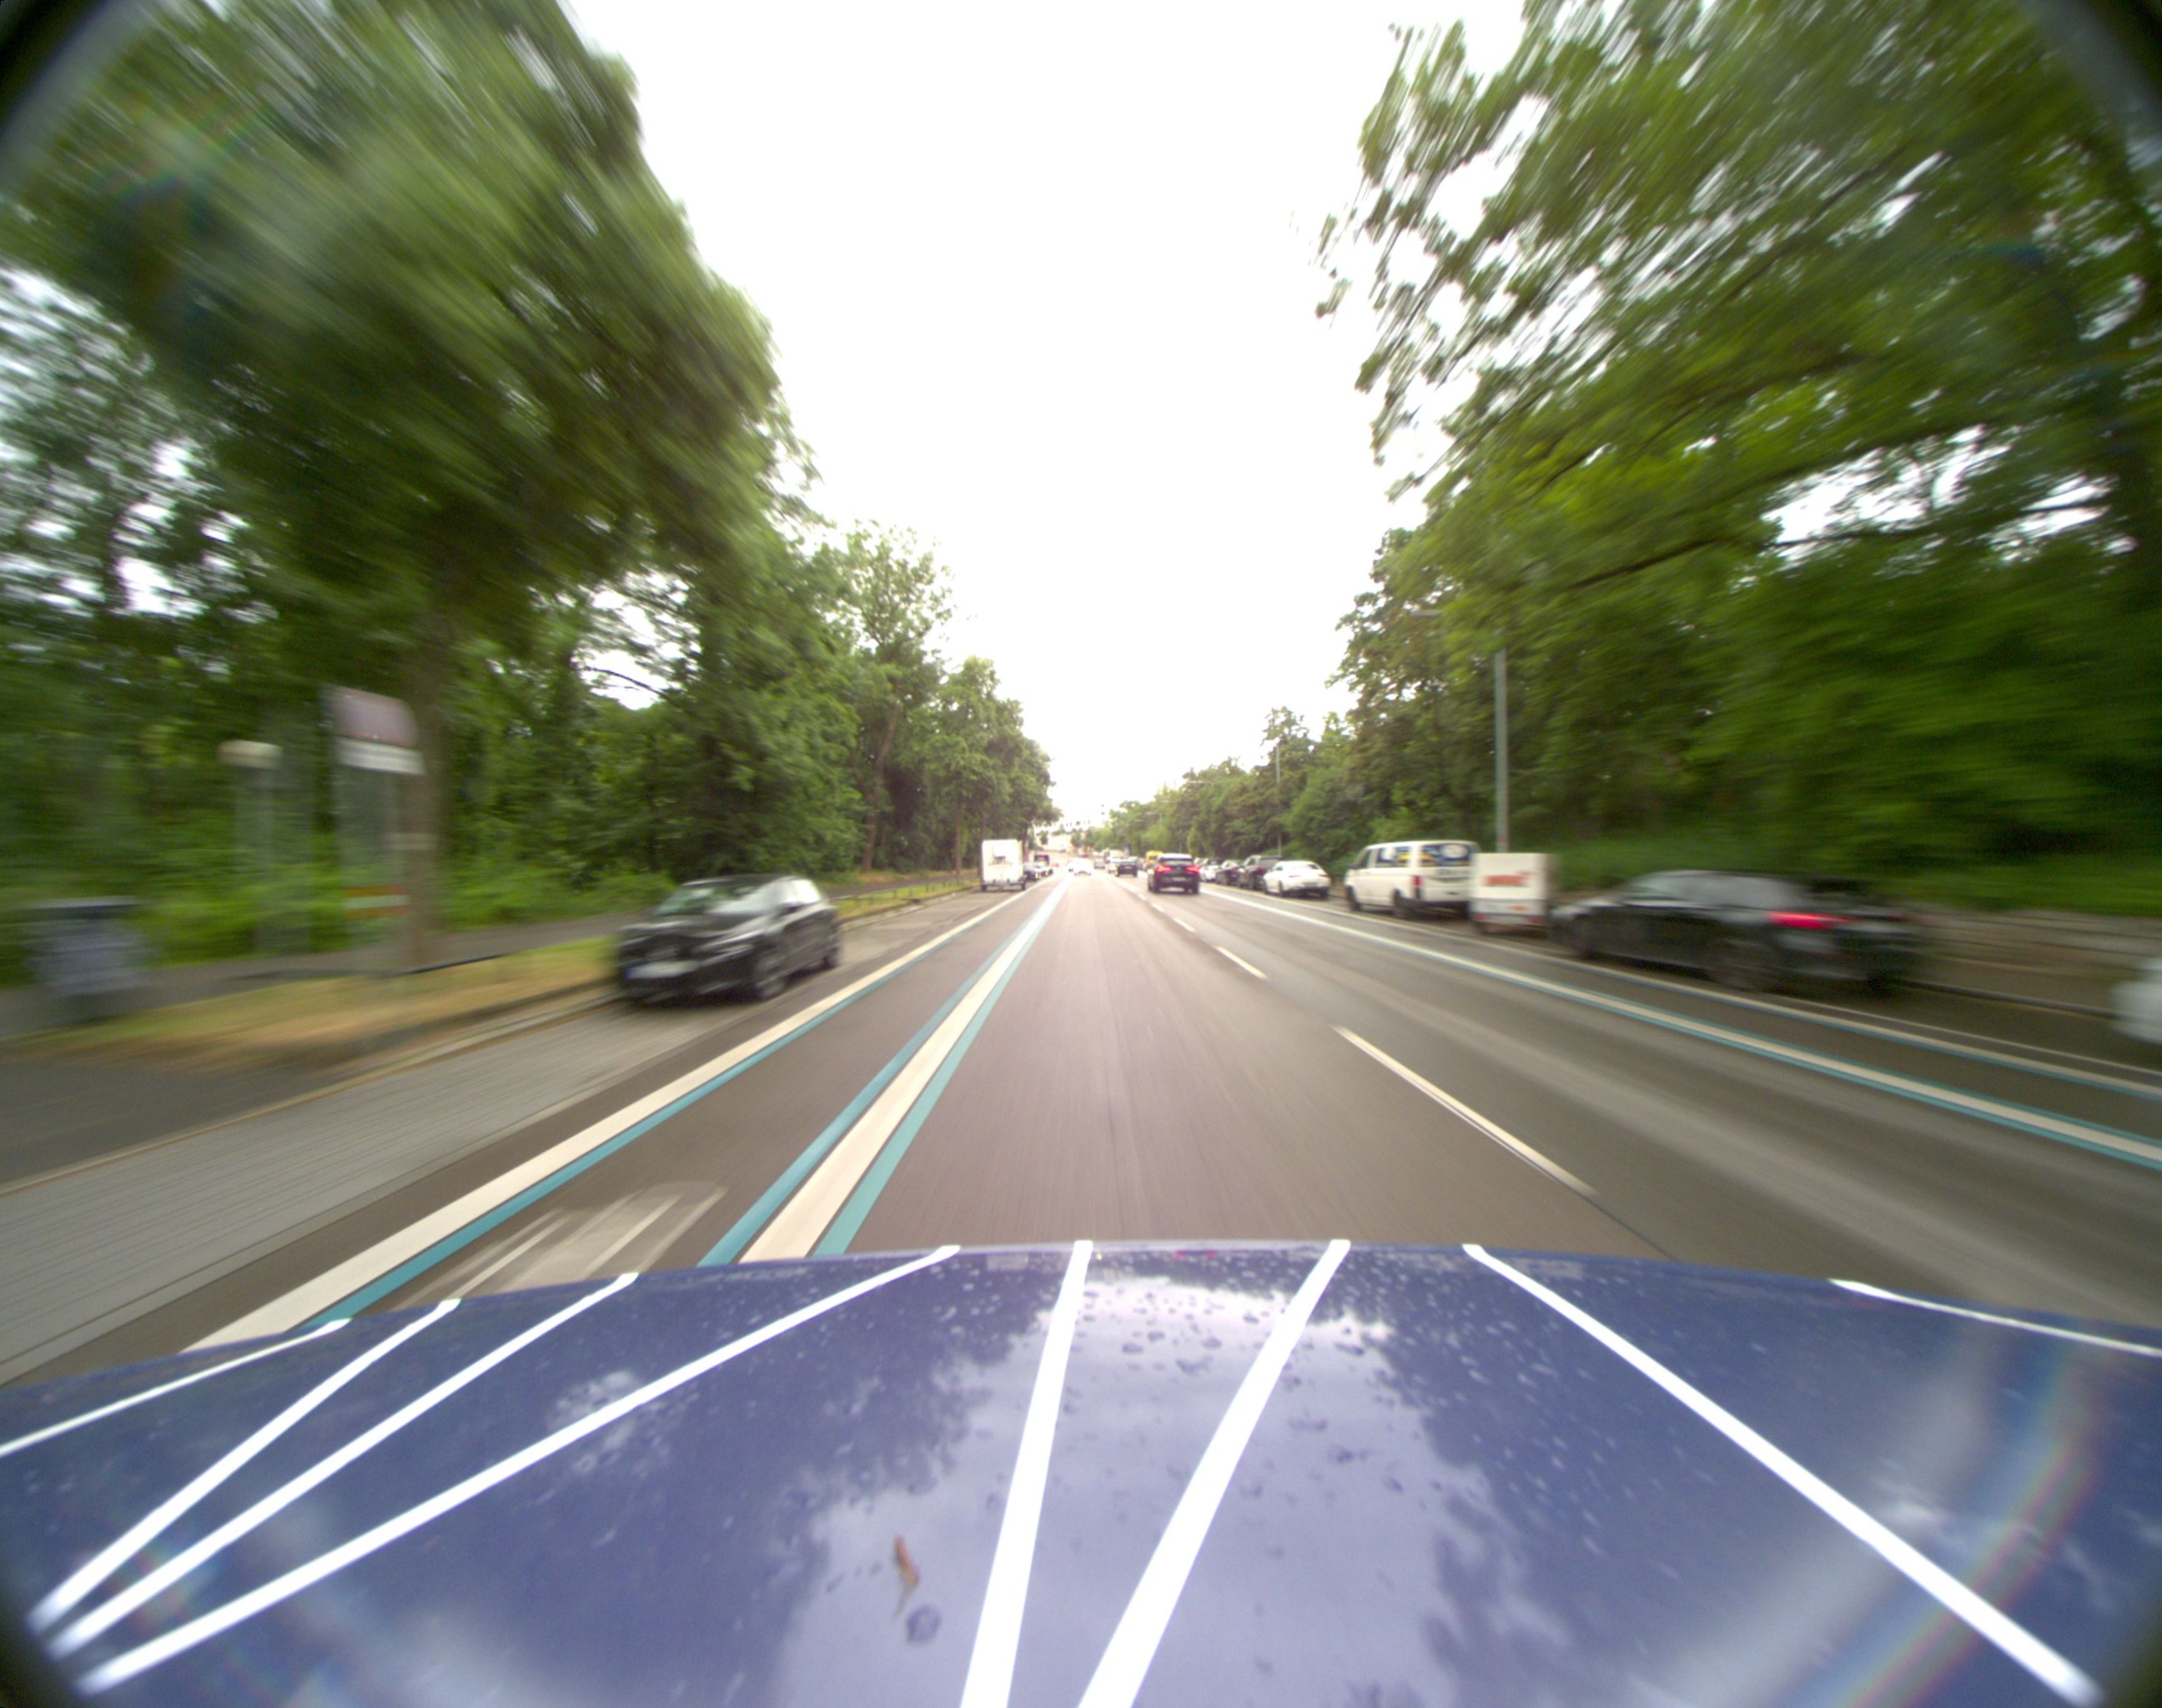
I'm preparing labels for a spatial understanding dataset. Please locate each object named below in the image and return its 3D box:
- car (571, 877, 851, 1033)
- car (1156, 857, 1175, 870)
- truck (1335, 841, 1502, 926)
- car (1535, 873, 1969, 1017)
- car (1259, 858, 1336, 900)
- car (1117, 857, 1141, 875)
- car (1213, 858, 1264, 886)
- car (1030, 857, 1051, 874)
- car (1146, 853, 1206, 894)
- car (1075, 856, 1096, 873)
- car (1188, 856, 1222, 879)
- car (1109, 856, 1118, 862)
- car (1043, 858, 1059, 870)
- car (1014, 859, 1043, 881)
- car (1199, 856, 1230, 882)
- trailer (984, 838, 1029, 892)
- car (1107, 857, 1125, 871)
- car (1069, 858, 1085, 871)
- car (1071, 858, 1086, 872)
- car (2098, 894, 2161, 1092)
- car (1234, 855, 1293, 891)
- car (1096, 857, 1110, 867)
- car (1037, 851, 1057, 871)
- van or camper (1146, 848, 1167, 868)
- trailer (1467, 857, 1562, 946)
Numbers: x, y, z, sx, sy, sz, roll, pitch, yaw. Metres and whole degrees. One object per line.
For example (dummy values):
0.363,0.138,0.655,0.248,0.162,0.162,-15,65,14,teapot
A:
-4.380,1.091,9.770,1.700,1.468,3.997,-1,0,-1,car
9.393,1.062,84.760,1.825,1.470,3.558,0,0,0,car
8.925,0.717,20.707,2.099,2.002,5.158,-1,0,-2,truck
8.455,1.022,10.278,1.826,1.390,4.444,-1,0,-3,car
8.711,0.958,30.951,1.811,1.489,4.752,0,0,0,car
4.119,1.044,65.852,1.769,1.449,4.496,1,0,1,car
8.966,0.990,43.650,1.901,1.466,4.553,-1,0,-1,car
-3.959,1.121,74.707,1.804,1.589,4.000,-1,0,0,car
4.033,0.803,32.965,2.043,1.639,4.477,0,0,1,car
0.469,1.066,76.922,1.998,1.588,4.000,-1,0,0,car
8.700,0.934,53.453,1.819,1.579,3.992,0,0,1,car
7.357,1.087,171.325,1.825,1.427,3.558,1,0,0,car
-3.764,1.261,96.000,1.862,1.361,4.000,-2,0,0,car
-3.814,1.138,55.706,1.804,1.455,4.000,-1,0,0,car
8.619,0.953,49.176,1.527,1.584,2.860,0,0,-1,car
-3.744,0.523,38.609,1.988,2.550,3.999,-1,0,-2,trailer
4.055,1.127,88.496,1.790,1.570,4.258,0,0,0,car
-0.477,1.330,98.210,1.998,1.629,4.000,0,0,1,car
-0.307,1.428,98.356,1.850,1.719,3.730,-1,0,0,car
8.774,1.002,3.709,1.759,1.427,4.356,0,0,-1,car
8.910,0.898,37.480,1.740,1.651,4.673,0,0,-1,car
3.399,1.247,118.102,1.805,1.394,3.999,-1,0,-3,car
-3.835,0.768,86.484,1.998,2.231,4.000,-2,0,0,car
9.421,0.512,94.872,2.165,2.437,4.436,-1,0,0,van or camper
8.857,0.891,15.462,1.347,1.647,2.271,0,0,38,trailer
